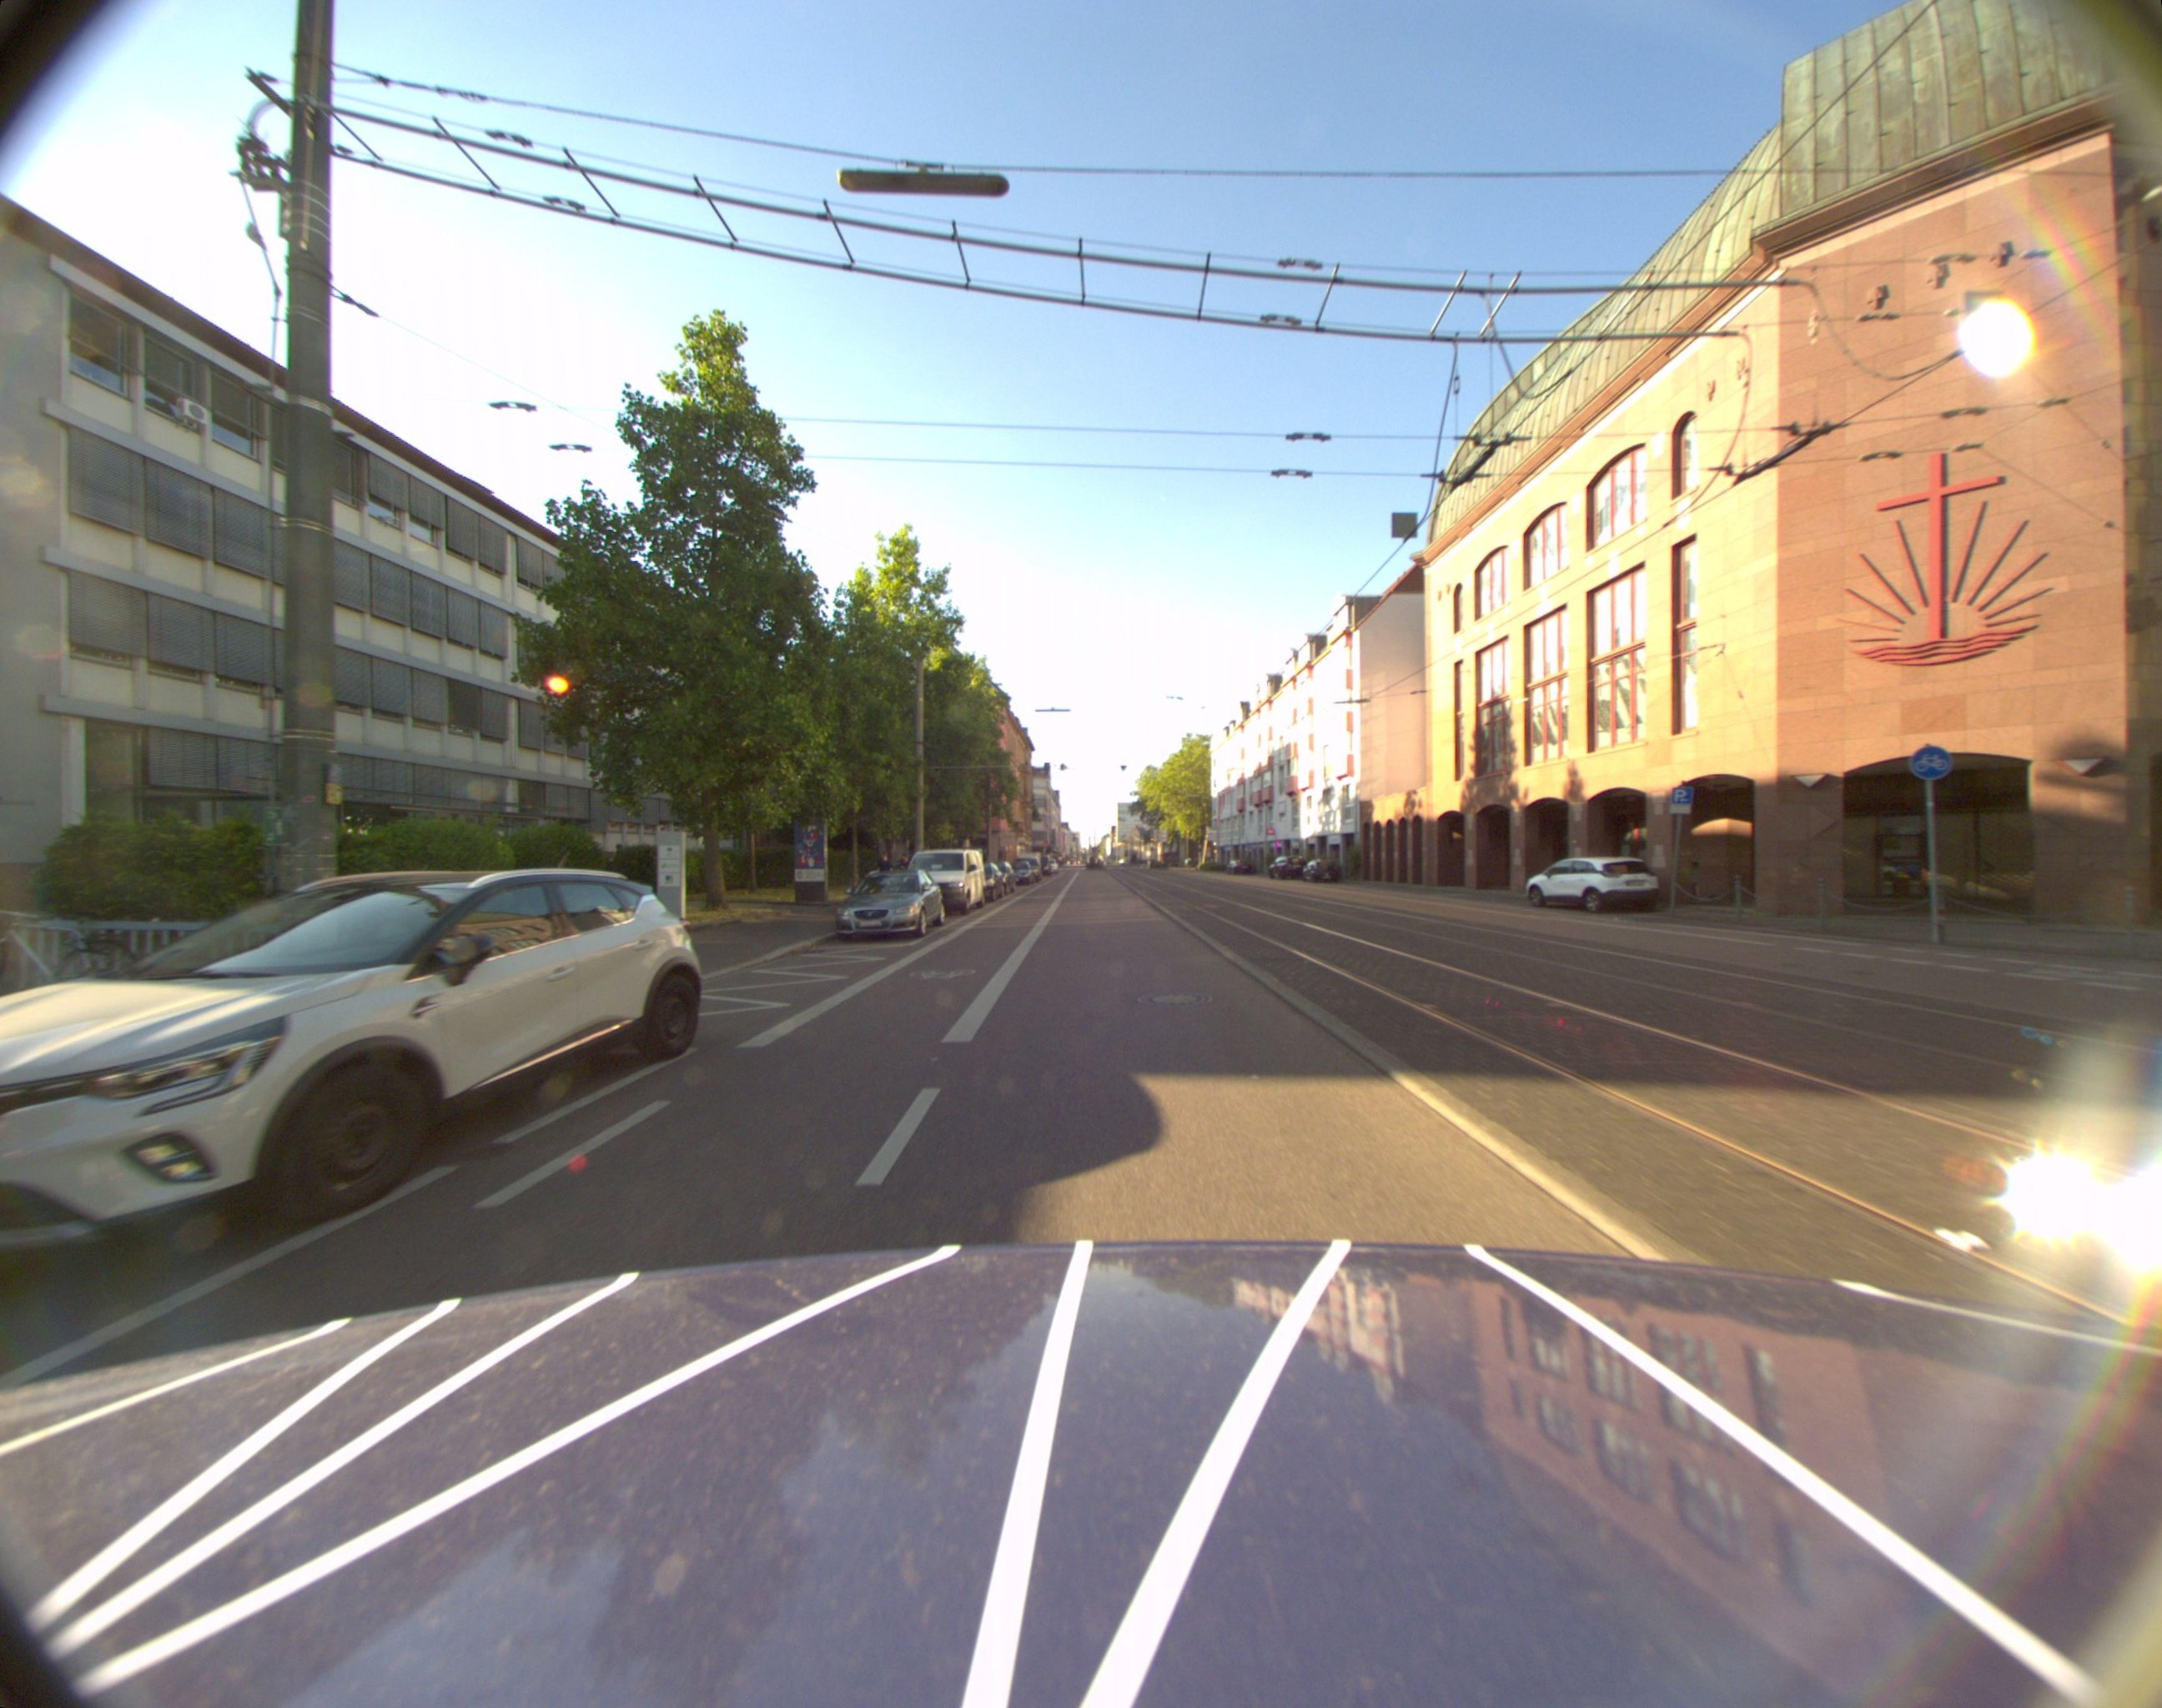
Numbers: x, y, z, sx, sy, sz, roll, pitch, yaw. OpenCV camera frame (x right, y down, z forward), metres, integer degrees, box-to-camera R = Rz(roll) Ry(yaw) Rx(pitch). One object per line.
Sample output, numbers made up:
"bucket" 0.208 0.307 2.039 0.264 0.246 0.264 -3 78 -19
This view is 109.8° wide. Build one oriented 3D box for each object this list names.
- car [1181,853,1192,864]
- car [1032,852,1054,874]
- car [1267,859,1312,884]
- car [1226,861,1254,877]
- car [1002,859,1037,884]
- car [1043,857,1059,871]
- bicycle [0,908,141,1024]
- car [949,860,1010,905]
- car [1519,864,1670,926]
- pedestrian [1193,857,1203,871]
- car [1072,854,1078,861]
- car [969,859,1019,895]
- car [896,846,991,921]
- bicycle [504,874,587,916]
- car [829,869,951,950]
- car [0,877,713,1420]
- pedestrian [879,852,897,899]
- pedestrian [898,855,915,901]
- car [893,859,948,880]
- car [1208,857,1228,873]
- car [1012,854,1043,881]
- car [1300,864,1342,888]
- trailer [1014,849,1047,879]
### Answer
"car" 15.791 0.710 113.726 1.383 1.664 2.882 0 0 1
"car" -3.411 0.753 69.002 1.697 1.832 4.695 -2 1 0
"car" 15.523 1.294 56.777 1.964 1.690 4.560 -2 0 -1
"car" 15.861 1.476 75.841 1.829 1.500 4.561 -2 0 1
"car" -3.763 1.033 47.001 1.784 1.420 4.212 -2 0 0
"car" -3.176 1.067 80.744 1.420 1.425 3.872 -2 0 0
"bicycle" -10.691 1.111 7.615 1.886 1.090 0.469 0 1 -1
"car" -3.895 1.060 29.645 1.687 1.484 3.911 -2 1 1
"car" 15.438 1.171 23.159 1.599 1.581 4.277 -3 0 -1
"pedestrian" 14.527 1.232 94.346 1.096 1.768 1.253 0 1 5
"car" -1.432 0.826 195.133 1.420 1.612 3.627 -2 0 0
"car" -3.881 1.001 34.490 1.597 1.485 3.902 -2 0 3
"car" -4.089 0.805 23.471 1.882 2.009 4.905 -2 0 1
"bicycle" -13.252 1.005 18.839 1.622 0.954 0.367 -1 1 -28
"car" -4.128 1.130 17.109 1.678 1.396 4.166 -2 1 -1
"car" -4.241 1.020 4.583 1.791 1.586 4.327 -1 0 2
"pedestrian" -7.165 0.799 28.217 0.494 1.703 0.437 2 1 0
"pedestrian" -6.481 0.881 28.192 0.494 1.703 0.437 2 1 0
"car" -13.878 1.310 65.790 4.368 1.662 1.588 2 0 -3
"car" 16.440 1.337 91.526 1.931 1.787 4.384 -1 0 4
"car" -3.699 0.916 53.073 1.784 1.735 4.474 -2 0 0
"car" 15.753 1.418 49.960 1.646 1.392 3.683 -2 0 2
"trailer" -3.790 0.745 57.920 1.783 2.136 5.316 -2 0 3
